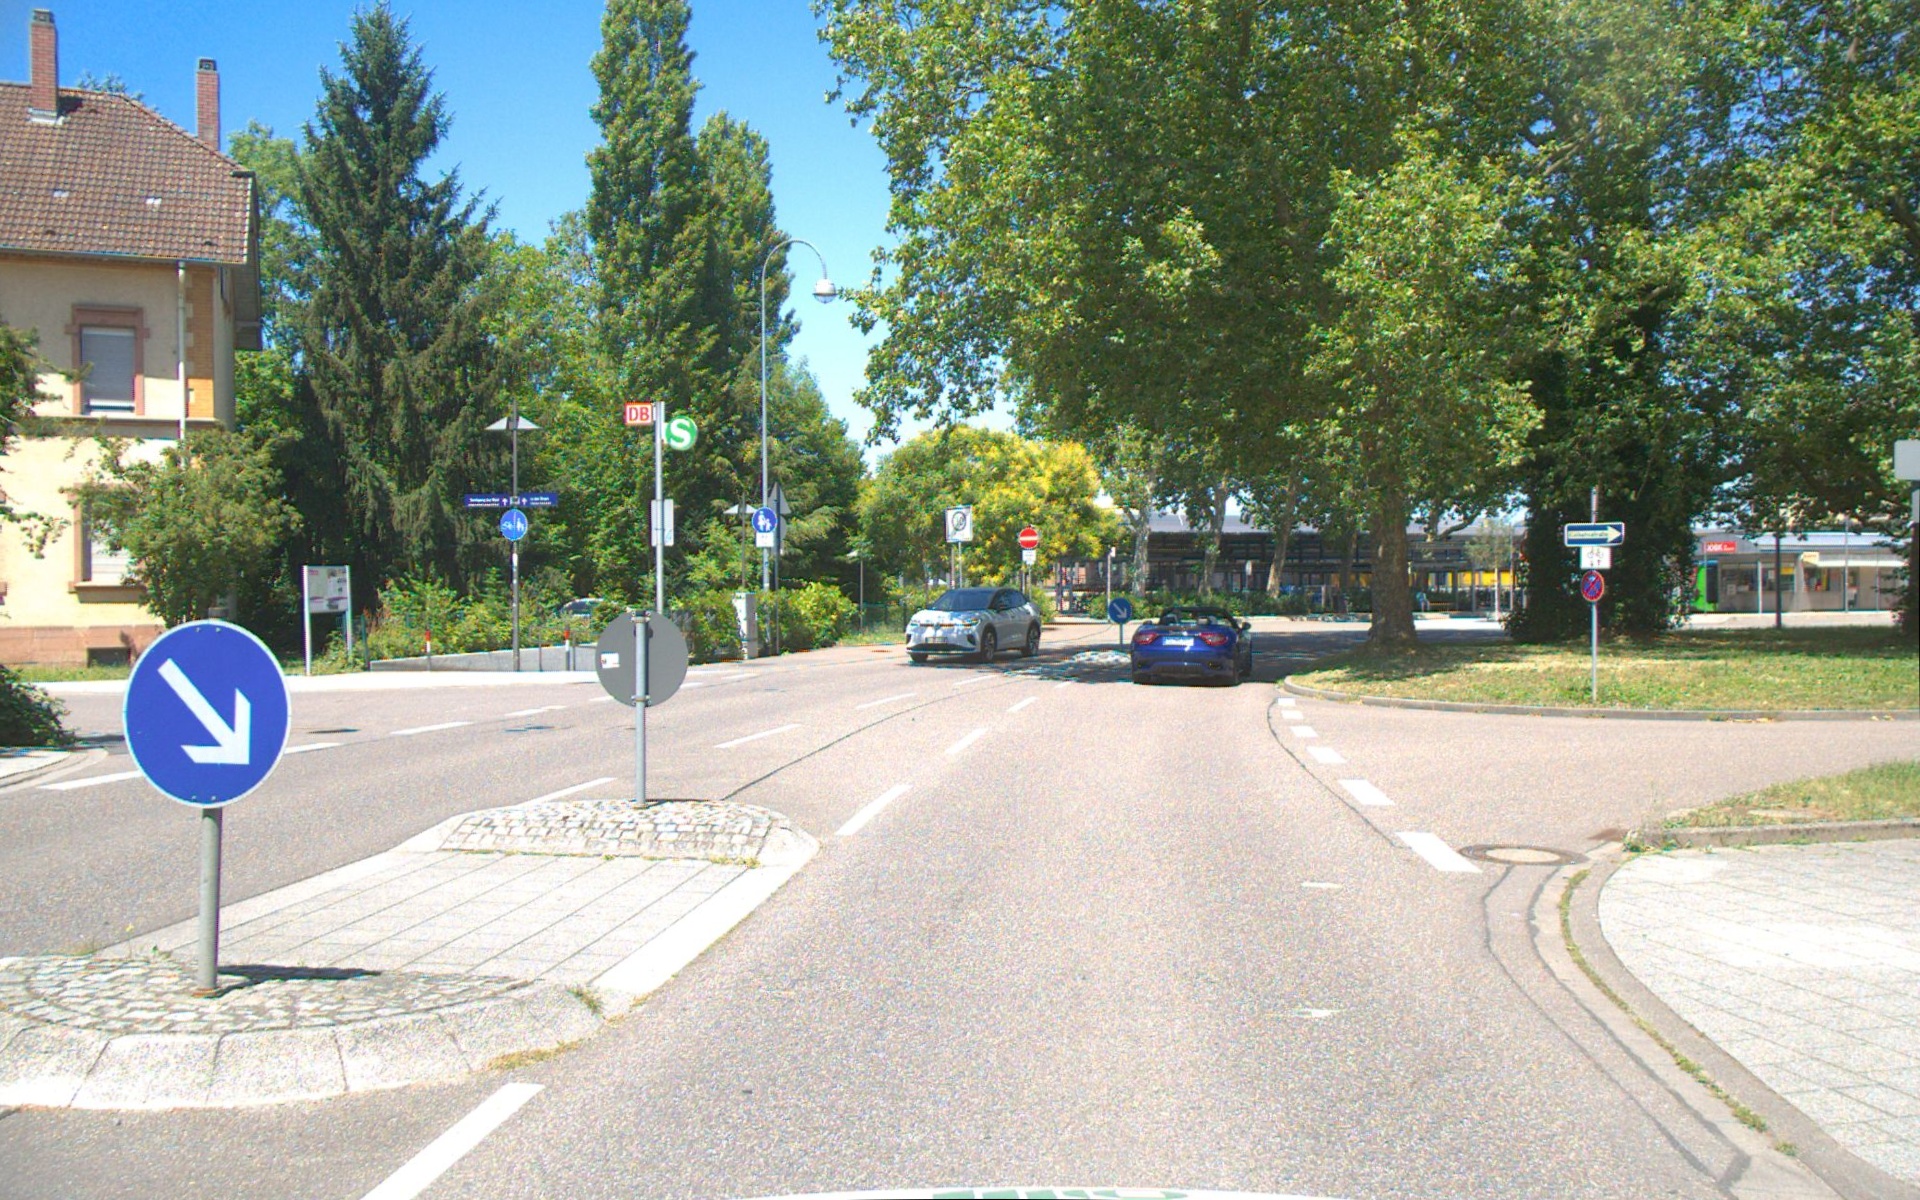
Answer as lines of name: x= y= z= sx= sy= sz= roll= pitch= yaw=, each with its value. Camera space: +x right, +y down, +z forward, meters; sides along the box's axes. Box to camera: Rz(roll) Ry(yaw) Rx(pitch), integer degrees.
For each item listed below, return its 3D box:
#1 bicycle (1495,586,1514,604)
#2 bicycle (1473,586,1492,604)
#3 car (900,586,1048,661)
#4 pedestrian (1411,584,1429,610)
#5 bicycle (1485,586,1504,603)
bicycle: x=35.370 y=-0.319 z=107.383 sx=0.379 sy=1.113 sz=1.377 roll=1 pitch=-1 yaw=-20
bicycle: x=34.219 y=-0.327 z=108.343 sx=0.379 sy=1.113 sz=1.376 roll=1 pitch=-1 yaw=-22
car: x=0.386 y=0.478 z=37.483 sx=1.807 sy=1.557 sz=4.337 roll=0 pitch=1 yaw=24
pedestrian: x=26.637 y=-0.198 z=95.735 sx=0.809 sy=1.489 sz=0.602 roll=-1 pitch=0 yaw=-26
bicycle: x=34.535 y=-0.338 z=106.884 sx=0.379 sy=1.113 sz=1.376 roll=1 pitch=-1 yaw=-21
